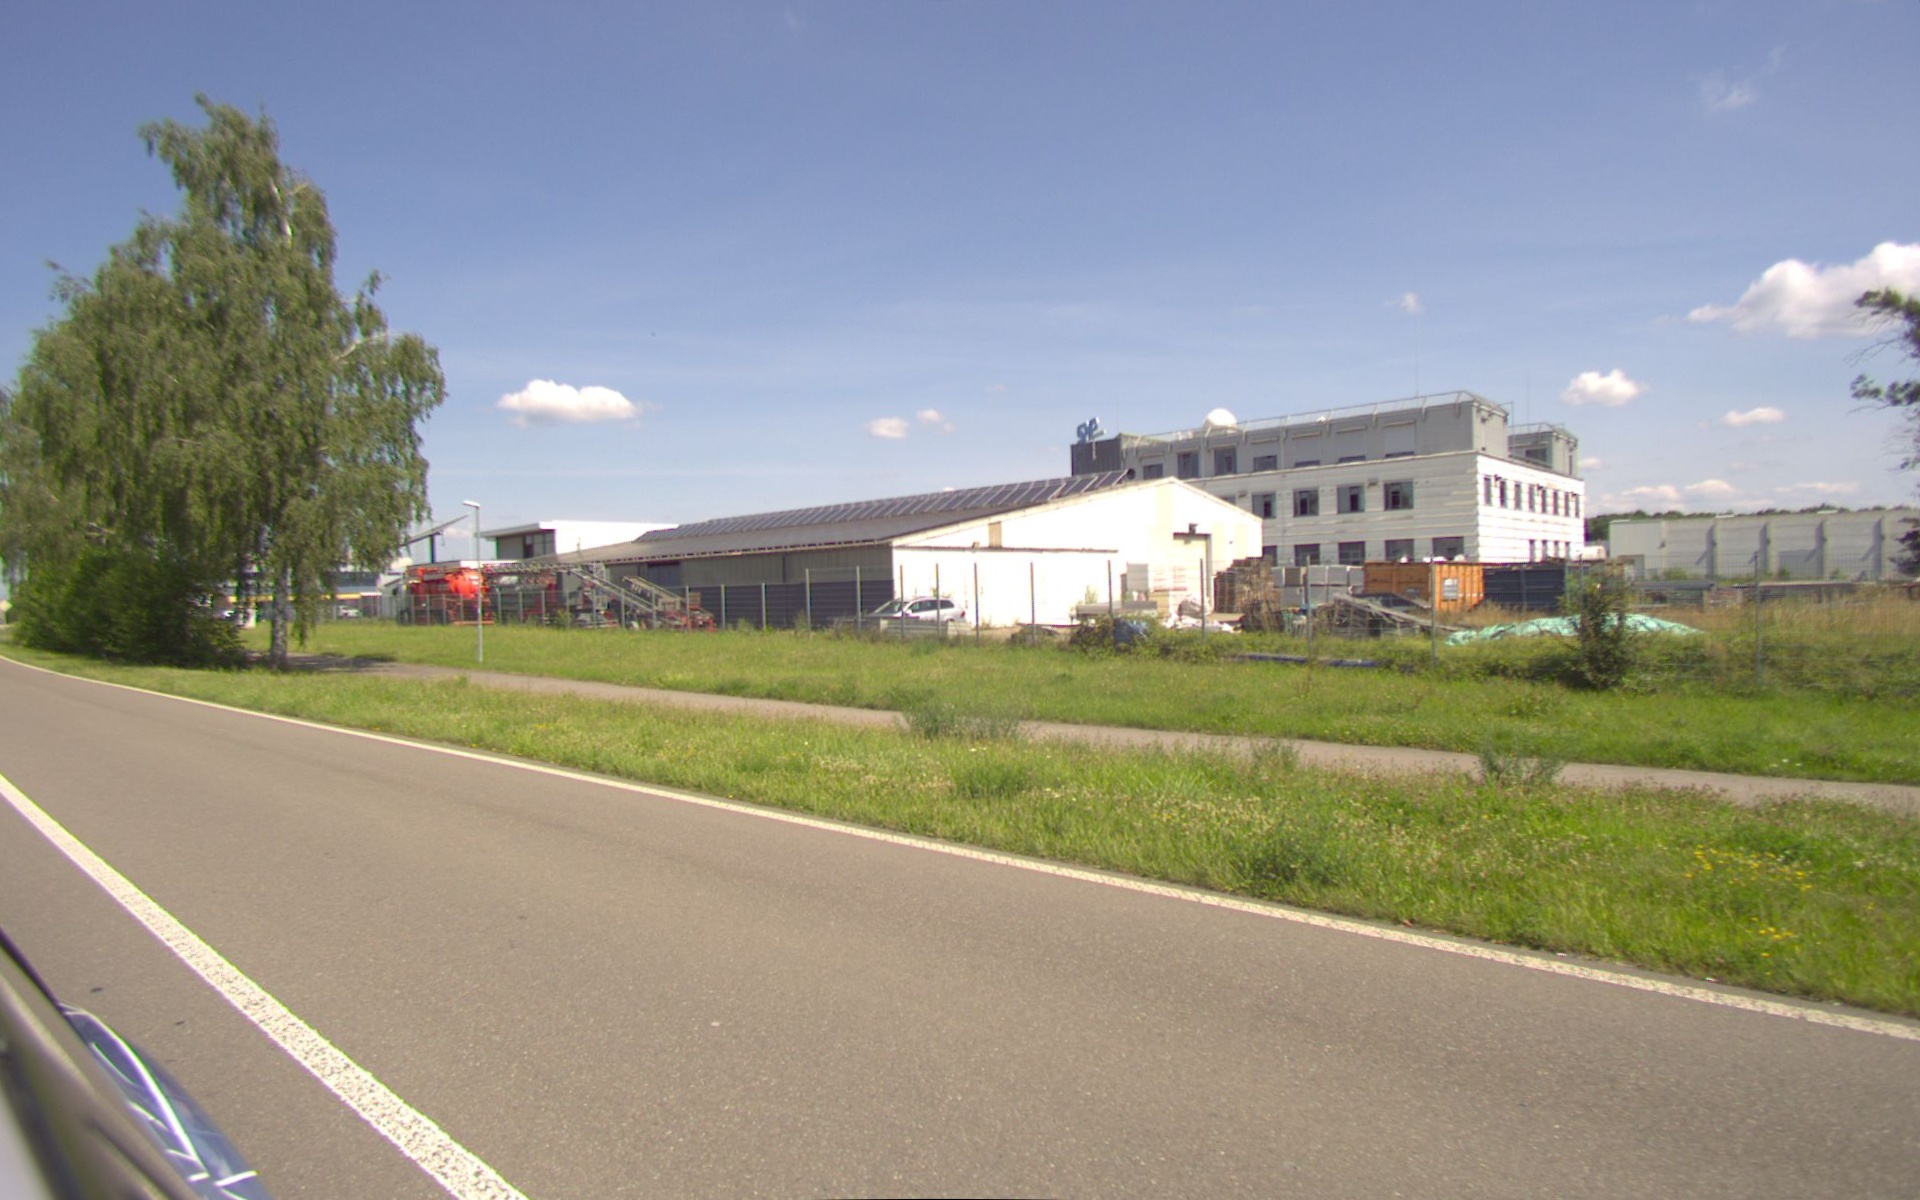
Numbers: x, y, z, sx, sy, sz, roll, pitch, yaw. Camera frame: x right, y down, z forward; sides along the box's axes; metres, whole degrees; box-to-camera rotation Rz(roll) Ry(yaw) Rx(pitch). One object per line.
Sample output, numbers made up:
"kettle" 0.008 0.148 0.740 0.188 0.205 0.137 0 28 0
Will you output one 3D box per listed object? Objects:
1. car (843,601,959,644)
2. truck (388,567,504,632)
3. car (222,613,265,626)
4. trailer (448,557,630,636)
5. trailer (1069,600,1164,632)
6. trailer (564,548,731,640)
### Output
"car" -2.028 0.762 35.756 1.748 1.353 3.942 -1 0 44
"truck" -31.560 0.039 61.863 10.597 3.672 3.066 -1 -1 44
"car" -91.514 2.467 129.303 1.870 1.613 4.165 -1 0 42
"trailer" -22.409 -0.090 52.989 14.930 3.672 3.253 -1 -1 44
"trailer" 6.367 0.619 41.008 1.905 1.175 3.943 -1 0 43
"trailer" -13.973 -0.209 44.771 8.662 3.672 3.361 -1 -1 44
